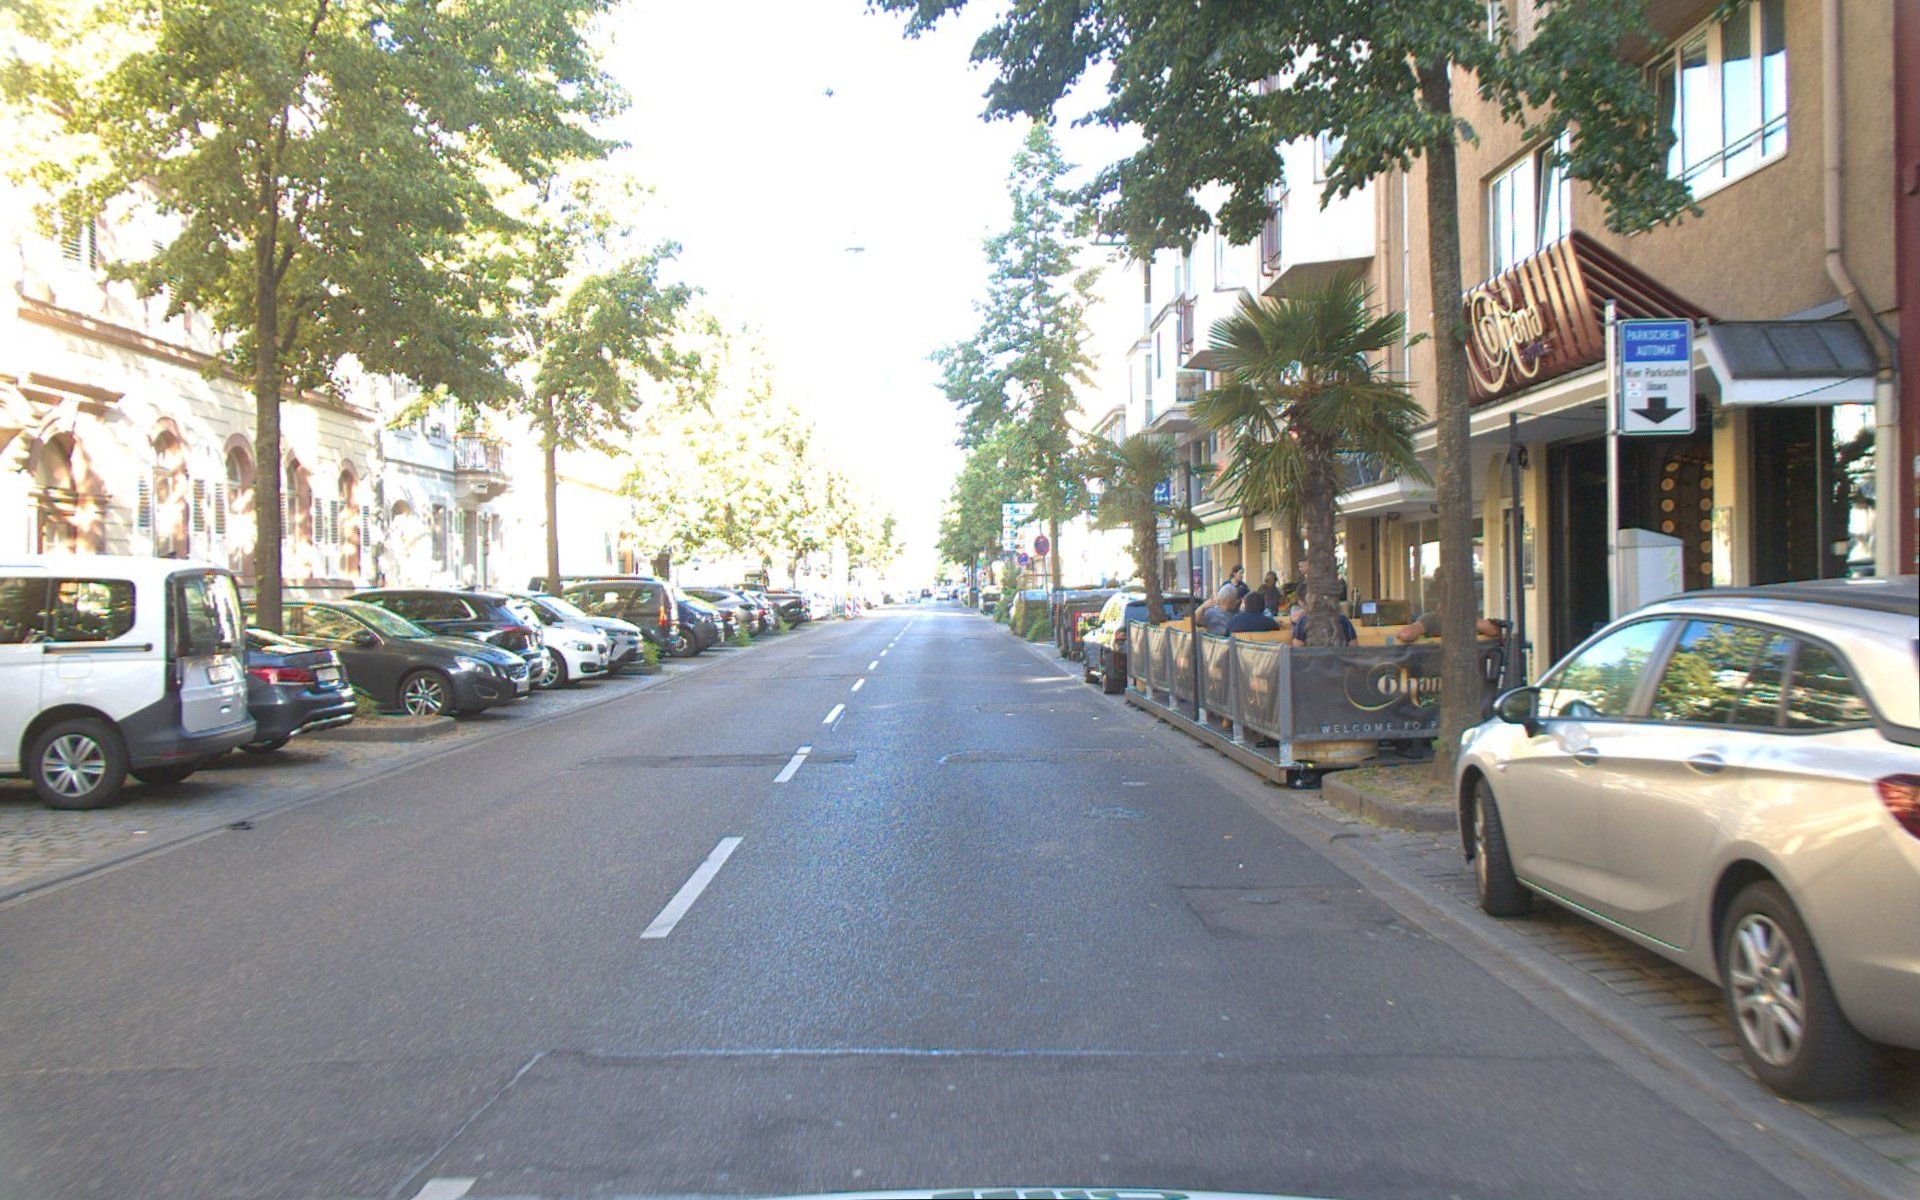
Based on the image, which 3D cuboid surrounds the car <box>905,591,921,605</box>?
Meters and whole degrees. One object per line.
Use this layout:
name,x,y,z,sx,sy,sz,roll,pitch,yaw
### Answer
car,-5.347,-0.205,188.791,1.766,1.460,4.408,-3,0,-2

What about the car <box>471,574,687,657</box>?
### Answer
car,-8.467,0.333,37.059,4.374,1.803,1.917,0,0,0

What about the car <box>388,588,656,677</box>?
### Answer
car,-7.976,0.579,30.399,4.373,1.568,1.917,0,0,2

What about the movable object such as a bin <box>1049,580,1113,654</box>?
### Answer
movable object such as a bin,2.674,0.369,36.610,1.303,1.569,1.146,-1,0,-1

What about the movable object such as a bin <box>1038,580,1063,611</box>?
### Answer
movable object such as a bin,5.039,-0.249,92.285,1.181,1.656,1.497,-1,0,-2

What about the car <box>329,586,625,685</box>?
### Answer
car,-7.977,0.563,27.624,4.376,1.568,1.916,0,0,-2

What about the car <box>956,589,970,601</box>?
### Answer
car,0.392,-0.692,231.981,1.953,1.534,3.999,0,0,-1

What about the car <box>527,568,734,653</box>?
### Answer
car,-7.908,0.251,39.990,4.584,1.984,1.917,0,0,0

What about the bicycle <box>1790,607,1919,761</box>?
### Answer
bicycle,6.740,0.574,12.067,0.464,1.019,1.700,-1,0,-1

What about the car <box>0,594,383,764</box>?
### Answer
car,-7.815,0.686,15.346,4.252,1.464,1.915,0,0,-3

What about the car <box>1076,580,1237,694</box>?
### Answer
car,2.940,0.506,25.727,1.785,1.497,4.911,-3,0,-1

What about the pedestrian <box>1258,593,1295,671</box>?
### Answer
pedestrian,4.913,0.493,25.660,0.434,1.183,0.501,-1,0,24

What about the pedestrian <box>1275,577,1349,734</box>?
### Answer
pedestrian,3.616,0.554,16.961,0.696,1.563,0.770,-1,0,14

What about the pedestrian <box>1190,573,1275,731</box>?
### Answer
pedestrian,2.785,0.514,16.974,0.637,1.563,0.979,-1,0,-2

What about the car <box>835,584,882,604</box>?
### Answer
car,-8.899,-0.548,145.561,3.903,1.724,2.001,-1,1,4

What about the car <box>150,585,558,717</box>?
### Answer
car,-7.472,0.606,20.701,4.374,1.568,1.917,0,0,1

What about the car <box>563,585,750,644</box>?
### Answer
car,-7.871,0.363,43.167,4.551,1.484,1.683,0,0,-1

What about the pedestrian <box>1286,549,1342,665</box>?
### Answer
pedestrian,5.359,0.105,25.050,0.498,1.725,0.622,-1,0,-38

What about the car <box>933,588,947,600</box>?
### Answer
car,-2.653,-0.818,220.514,1.756,1.436,3.999,-1,1,-1

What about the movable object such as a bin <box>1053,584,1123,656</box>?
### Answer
movable object such as a bin,2.736,0.411,35.447,1.370,1.479,1.146,-1,0,-1

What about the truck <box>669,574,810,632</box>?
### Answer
truck,-8.190,0.103,61.757,4.982,1.972,1.999,-1,0,-2

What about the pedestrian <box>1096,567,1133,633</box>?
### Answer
pedestrian,4.662,-0.012,49.889,0.906,1.969,0.761,-1,0,24

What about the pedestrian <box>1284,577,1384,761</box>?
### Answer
pedestrian,3.283,0.592,14.566,0.678,1.563,0.776,-1,0,0

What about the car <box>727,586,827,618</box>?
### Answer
car,-8.557,0.098,77.744,4.588,1.491,1.807,0,0,-4

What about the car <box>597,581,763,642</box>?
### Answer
car,-8.217,0.322,48.809,4.584,1.742,1.808,0,0,0

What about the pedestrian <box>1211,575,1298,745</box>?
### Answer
pedestrian,2.798,0.552,15.675,0.733,1.563,0.808,-1,0,14

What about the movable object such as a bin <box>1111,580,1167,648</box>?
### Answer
movable object such as a bin,3.954,0.296,36.636,1.055,1.456,1.295,-1,0,-1

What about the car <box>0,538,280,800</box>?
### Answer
car,-7.691,0.494,12.620,4.258,1.866,1.913,0,0,-8

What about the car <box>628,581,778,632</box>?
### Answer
car,-8.359,0.207,54.060,4.584,1.599,1.808,0,0,0

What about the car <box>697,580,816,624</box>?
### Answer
car,-8.208,0.084,67.073,4.584,1.723,1.808,0,0,0

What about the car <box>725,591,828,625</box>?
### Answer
car,-8.306,0.370,75.124,4.588,1.491,1.807,0,0,-4

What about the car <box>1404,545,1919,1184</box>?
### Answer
car,3.303,0.631,6.309,1.785,1.624,4.841,-3,0,-1

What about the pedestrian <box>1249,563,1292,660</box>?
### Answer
pedestrian,5.487,0.200,29.256,0.604,1.670,0.762,-1,0,0

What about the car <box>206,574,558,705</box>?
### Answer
car,-7.999,0.527,23.179,4.251,1.739,1.916,0,0,-1

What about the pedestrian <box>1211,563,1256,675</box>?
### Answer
pedestrian,4.312,0.292,26.124,0.603,1.725,0.762,-1,0,4

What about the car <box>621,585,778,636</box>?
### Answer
car,-8.069,0.331,51.538,4.584,1.546,1.808,0,0,0

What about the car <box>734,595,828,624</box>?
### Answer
car,-8.945,0.473,83.067,4.588,1.437,1.807,0,0,-4

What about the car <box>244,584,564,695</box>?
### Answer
car,-8.382,0.582,25.199,4.251,1.609,1.808,0,0,-1

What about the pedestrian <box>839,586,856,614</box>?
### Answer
pedestrian,-6.914,-0.001,101.283,0.785,1.737,0.758,0,0,-34

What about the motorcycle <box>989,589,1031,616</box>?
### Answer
motorcycle,2.547,0.116,84.476,1.943,1.353,0.909,-1,0,-13

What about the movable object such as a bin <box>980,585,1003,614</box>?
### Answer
movable object such as a bin,1.807,-0.027,94.799,1.118,1.589,1.460,-1,0,7

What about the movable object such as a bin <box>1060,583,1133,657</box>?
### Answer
movable object such as a bin,2.819,0.406,34.286,1.370,1.479,1.146,-1,0,-1

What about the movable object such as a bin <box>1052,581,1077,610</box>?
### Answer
movable object such as a bin,5.749,-0.241,90.930,1.245,1.557,1.176,-1,0,-3

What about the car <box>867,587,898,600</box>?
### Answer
car,-9.964,-0.877,213.279,3.906,1.526,1.999,-1,1,-2

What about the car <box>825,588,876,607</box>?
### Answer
car,-8.766,-0.219,132.652,3.906,1.414,1.999,-1,1,-2

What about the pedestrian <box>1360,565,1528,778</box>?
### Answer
pedestrian,3.702,0.532,12.729,1.034,1.563,0.892,-1,0,3
